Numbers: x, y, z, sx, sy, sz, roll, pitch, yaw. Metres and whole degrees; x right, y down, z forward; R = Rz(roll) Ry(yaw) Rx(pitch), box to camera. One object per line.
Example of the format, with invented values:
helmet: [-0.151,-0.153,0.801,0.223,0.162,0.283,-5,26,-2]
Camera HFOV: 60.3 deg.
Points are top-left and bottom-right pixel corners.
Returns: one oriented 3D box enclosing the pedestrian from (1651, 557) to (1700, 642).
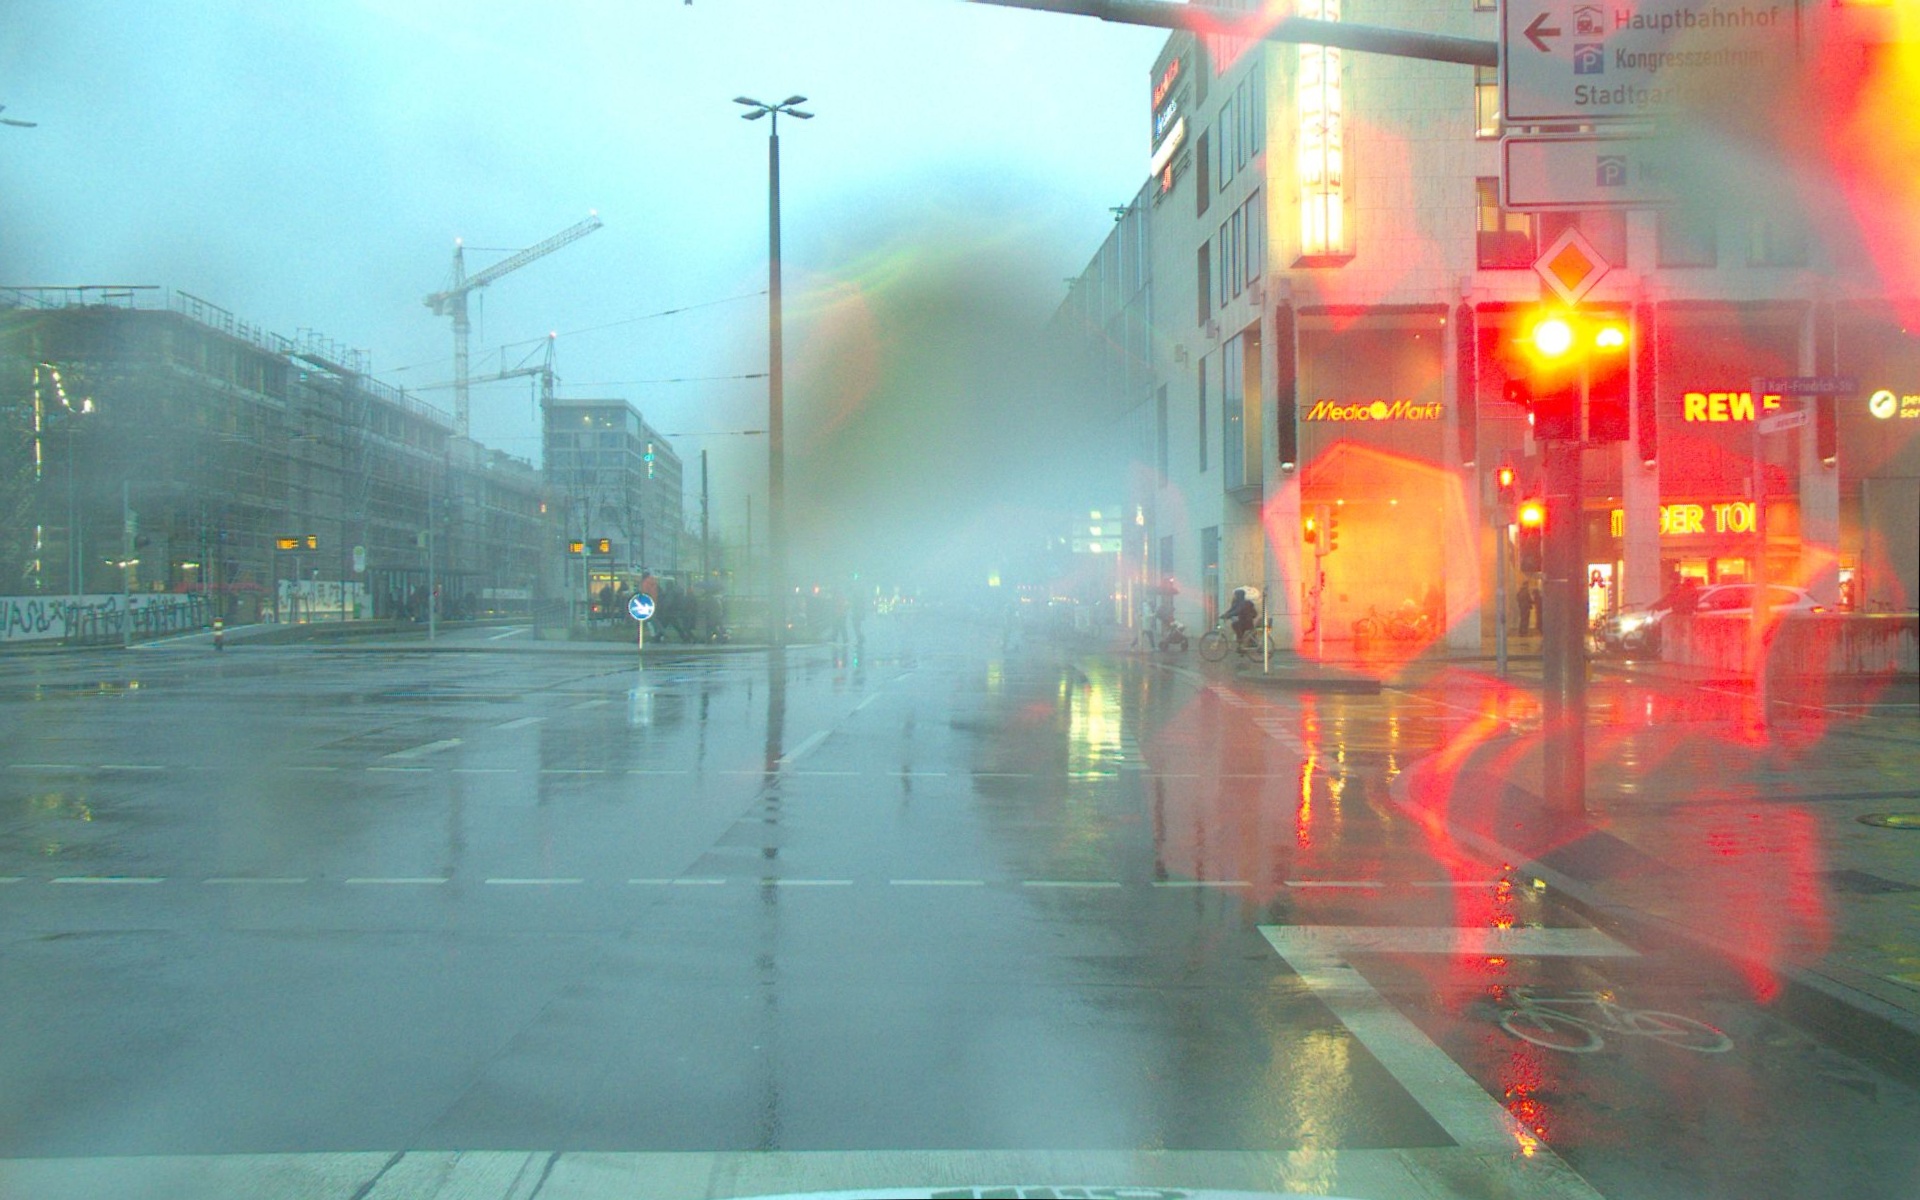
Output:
pedestrian: [13.965,-0.009,32.283,0.764,1.623,0.613,-1,0,14]

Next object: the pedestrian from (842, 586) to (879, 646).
pedestrian: [-2.863,0.468,47.621,0.826,1.718,0.676,-1,0,26]

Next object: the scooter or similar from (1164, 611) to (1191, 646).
scooter or similar: [6.252,0.818,47.606,0.725,1.011,0.401,-1,0,11]

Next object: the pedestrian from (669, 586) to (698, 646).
pedestrian: [-7.615,0.440,45.545,0.692,1.647,0.612,-1,0,-3]

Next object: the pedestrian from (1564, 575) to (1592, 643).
pedestrian: [15.923,0.230,42.635,0.526,1.715,0.547,-1,0,37]

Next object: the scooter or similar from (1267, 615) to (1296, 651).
scooter or similar: [9.058,0.931,46.571,0.726,1.011,0.400,-1,0,0]

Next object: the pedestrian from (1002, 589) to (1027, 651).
pedestrian: [1.609,0.576,48.638,0.688,1.791,0.652,-1,0,-1]

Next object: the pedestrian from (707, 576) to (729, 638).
pedestrian: [-7.033,0.212,48.089,0.607,1.776,0.612,-1,0,-6]

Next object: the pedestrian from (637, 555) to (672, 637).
pedestrian: [-7.996,-0.104,43.265,0.682,2.124,0.604,-1,0,-41]

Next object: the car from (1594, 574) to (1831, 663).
car: [15.846,0.379,34.979,4.213,1.792,1.707,-1,0,2]

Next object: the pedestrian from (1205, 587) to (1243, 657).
pedestrian: [6.107,0.514,38.314,0.797,1.597,0.536,-1,0,2]

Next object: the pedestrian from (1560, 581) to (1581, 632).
pedestrian: [20.876,0.213,56.541,0.526,1.748,0.500,-1,0,37]

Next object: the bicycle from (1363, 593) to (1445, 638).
bicycle: [13.697,0.478,51.080,2.378,1.352,0.634,0,0,-6]

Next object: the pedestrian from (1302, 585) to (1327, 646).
pedestrian: [10.599,0.459,49.492,0.605,1.791,0.482,-1,0,-1]

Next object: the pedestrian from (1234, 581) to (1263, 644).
pedestrian: [8.340,0.367,47.879,0.688,1.791,0.667,-1,0,-1]

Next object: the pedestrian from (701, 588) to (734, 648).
pedestrian: [-6.743,0.497,45.989,0.793,1.635,0.745,-1,0,-1]

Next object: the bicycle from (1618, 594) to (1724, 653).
bicycle: [13.868,0.462,32.310,1.806,1.112,0.618,-1,0,14]

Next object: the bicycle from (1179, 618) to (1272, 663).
bicycle: [6.141,0.932,38.309,2.084,1.009,0.542,1,-1,2]

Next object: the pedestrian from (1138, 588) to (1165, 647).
pedestrian: [5.529,0.504,47.747,0.725,1.696,0.401,-1,0,11]

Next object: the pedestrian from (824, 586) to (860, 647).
pedestrian: [-3.365,0.476,47.077,0.814,1.709,0.619,-1,0,24]

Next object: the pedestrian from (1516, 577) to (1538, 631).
pedestrian: [18.375,0.128,53.610,0.526,1.748,0.500,-1,0,37]

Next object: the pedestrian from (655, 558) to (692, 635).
pedestrian: [-7.676,-0.087,44.260,0.770,2.049,0.604,-1,0,-39]

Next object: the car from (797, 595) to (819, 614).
car: [-15.618,0.465,170.108,1.850,1.814,3.713,1,-1,-1]
